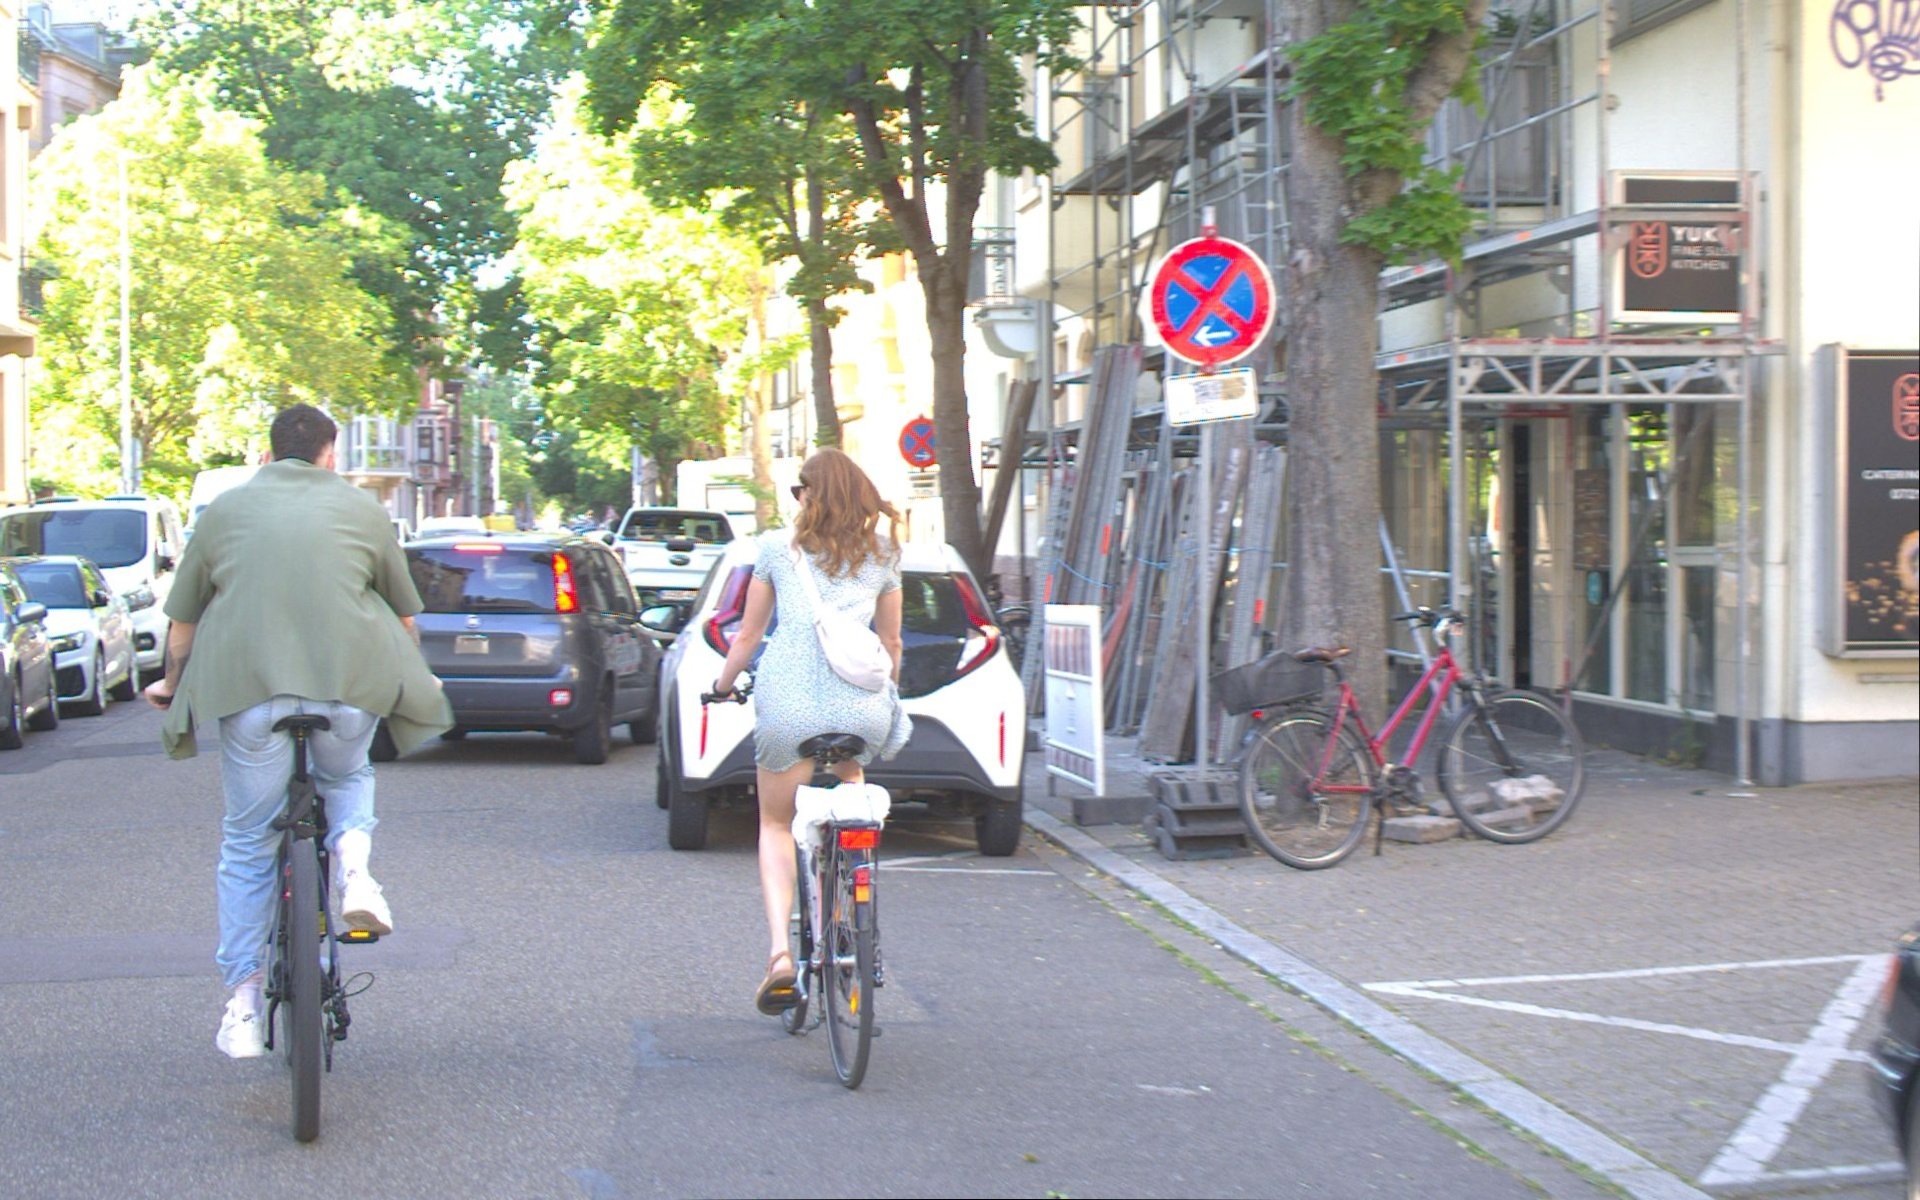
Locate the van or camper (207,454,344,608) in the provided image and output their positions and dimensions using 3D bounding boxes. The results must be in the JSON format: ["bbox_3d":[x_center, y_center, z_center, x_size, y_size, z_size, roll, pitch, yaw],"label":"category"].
[{"bbox_3d":[-11.779,-1.212,59.421,1.993,2.544,5.024,0,1,-8],"label":"van or camper"}]

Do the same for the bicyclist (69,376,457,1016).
[{"bbox_3d":[-1.772,0.244,8.870,0.881,1.556,0.868,-1,-2,-6],"label":"bicyclist"}]

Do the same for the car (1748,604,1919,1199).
[{"bbox_3d":[2.782,0.733,4.974,1.708,1.383,4.571,-1,1,-7],"label":"car"}]

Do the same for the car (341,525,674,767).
[{"bbox_3d":[-3.031,0.254,23.666,1.557,1.527,3.486,0,1,5],"label":"car"}]

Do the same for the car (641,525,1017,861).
[{"bbox_3d":[-0.762,0.405,17.734,1.674,1.540,3.404,1,1,-6],"label":"car"}]

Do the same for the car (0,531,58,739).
[{"bbox_3d":[-8.031,0.235,25.956,1.978,1.450,4.115,-2,1,-10],"label":"car"}]

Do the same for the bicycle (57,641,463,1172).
[{"bbox_3d":[-1.774,0.718,9.054,0.839,1.145,2.233,-1,1,-7],"label":"bicycle"}]

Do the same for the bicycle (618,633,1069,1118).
[{"bbox_3d":[-0.399,0.718,9.842,0.839,1.145,2.233,2,1,-13],"label":"bicycle"}]

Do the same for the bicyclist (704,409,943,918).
[{"bbox_3d":[-0.392,0.193,9.808,0.623,1.376,0.868,-1,-3,-3],"label":"bicyclist"}]

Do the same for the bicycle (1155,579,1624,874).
[{"bbox_3d":[1.958,0.543,15.608,1.979,1.161,0.727,-4,2,-24],"label":"bicycle"}]

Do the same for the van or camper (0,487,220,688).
[{"bbox_3d":[-9.335,-0.180,37.301,1.993,2.007,4.913,-1,1,-6],"label":"van or camper"}]

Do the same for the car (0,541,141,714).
[{"bbox_3d":[-8.499,0.211,31.211,1.686,1.448,3.711,-1,1,-8],"label":"car"}]

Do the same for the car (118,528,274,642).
[{"bbox_3d":[-10.588,-0.245,47.849,1.710,1.499,4.001,0,1,-7],"label":"car"}]
